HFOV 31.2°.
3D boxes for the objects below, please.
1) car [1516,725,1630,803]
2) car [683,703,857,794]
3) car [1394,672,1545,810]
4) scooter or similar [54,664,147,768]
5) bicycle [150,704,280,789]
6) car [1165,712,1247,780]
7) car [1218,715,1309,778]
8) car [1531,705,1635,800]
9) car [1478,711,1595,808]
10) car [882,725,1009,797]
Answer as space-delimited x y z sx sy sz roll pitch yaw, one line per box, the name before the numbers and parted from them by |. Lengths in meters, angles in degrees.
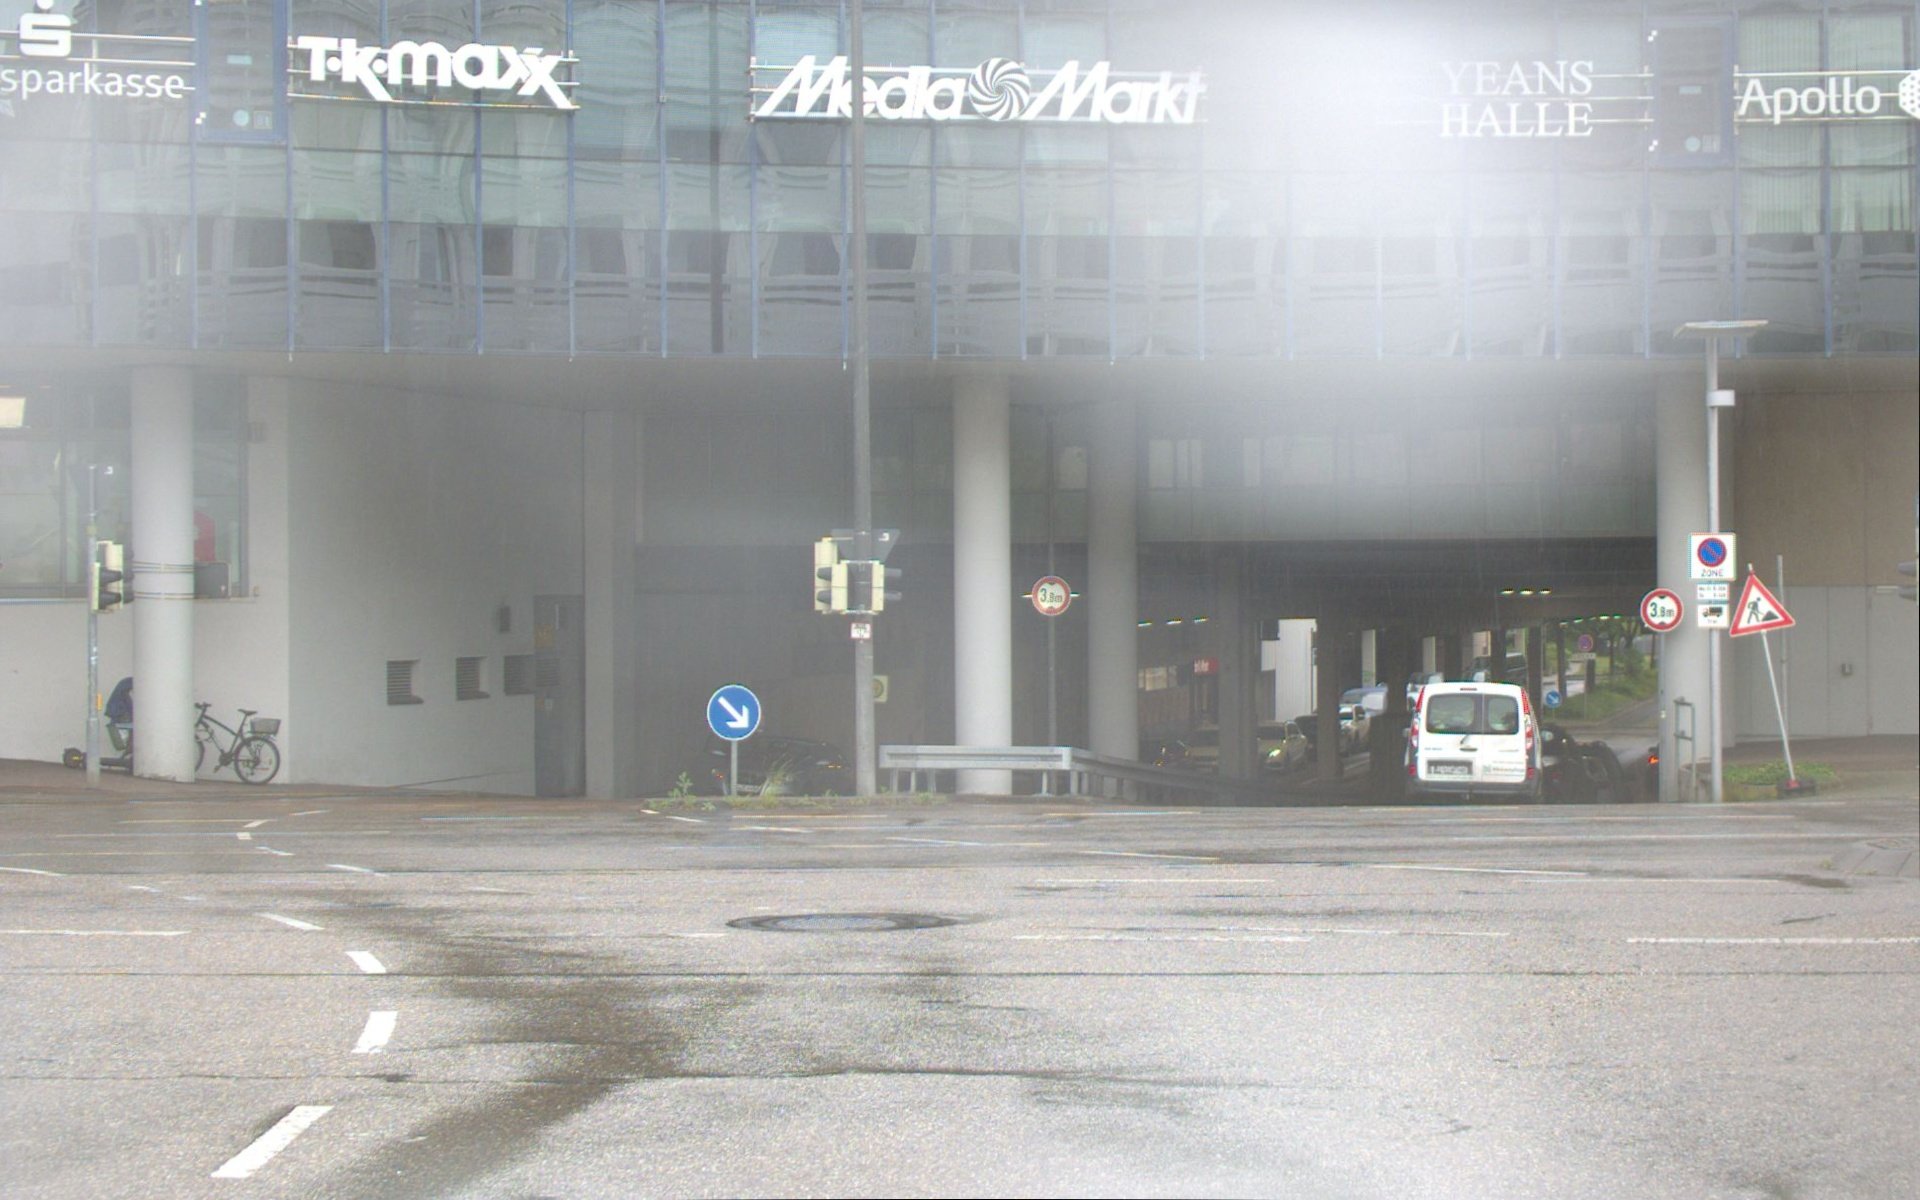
car | 11.534 3.088 64.529 1.780 1.396 3.997 -1 -3 14
car | -3.318 2.648 60.849 1.894 1.465 4.023 0 -5 15
car | 7.022 1.914 47.147 1.926 1.791 4.294 -1 -2 9
scooter or similar | -11.604 1.562 46.423 1.166 1.368 0.489 2 -1 -16
bicycle | -10.130 1.993 46.782 1.581 1.014 0.452 7 -3 -31
car | 6.790 4.002 94.647 1.837 1.722 3.998 0 -1 10
car | 8.896 4.262 100.493 1.995 1.658 3.997 1 0 14
car | 12.517 3.033 68.940 1.792 1.765 3.997 -1 -1 13
car | 9.990 2.766 59.395 1.634 1.606 4.259 -1 -3 14
car | -0.279 3.406 72.819 1.772 1.459 3.872 -1 -3 14
